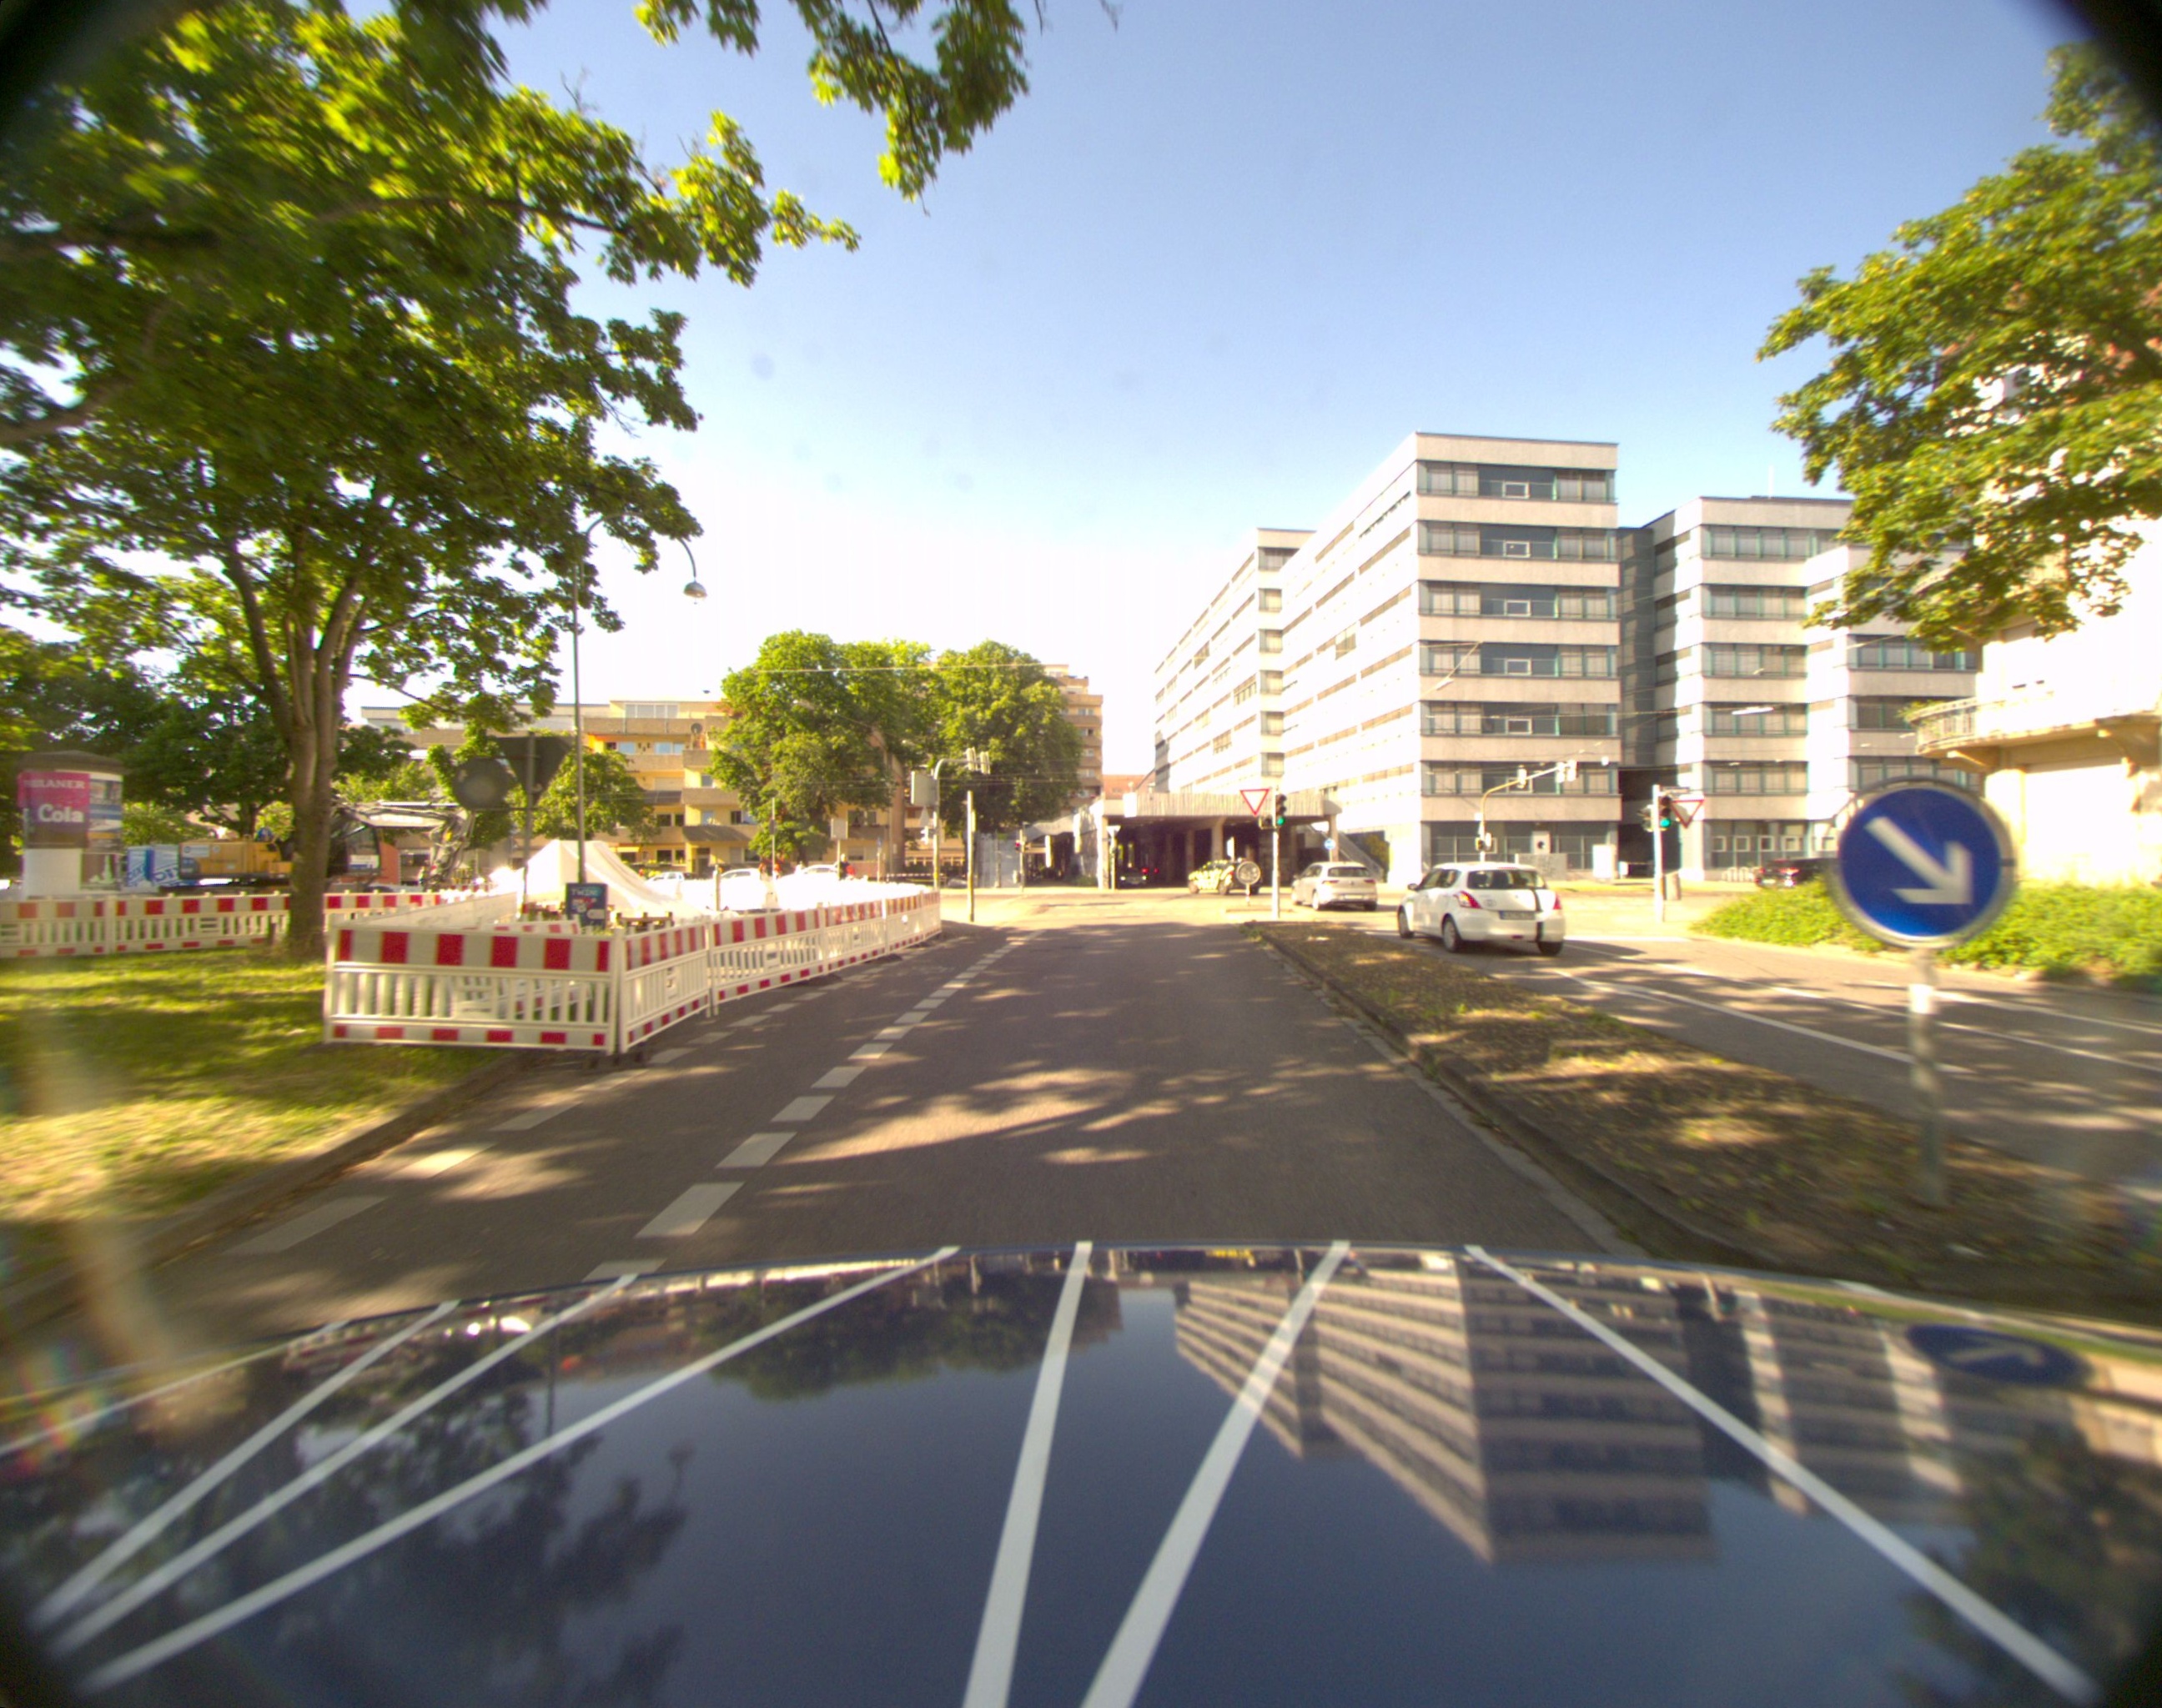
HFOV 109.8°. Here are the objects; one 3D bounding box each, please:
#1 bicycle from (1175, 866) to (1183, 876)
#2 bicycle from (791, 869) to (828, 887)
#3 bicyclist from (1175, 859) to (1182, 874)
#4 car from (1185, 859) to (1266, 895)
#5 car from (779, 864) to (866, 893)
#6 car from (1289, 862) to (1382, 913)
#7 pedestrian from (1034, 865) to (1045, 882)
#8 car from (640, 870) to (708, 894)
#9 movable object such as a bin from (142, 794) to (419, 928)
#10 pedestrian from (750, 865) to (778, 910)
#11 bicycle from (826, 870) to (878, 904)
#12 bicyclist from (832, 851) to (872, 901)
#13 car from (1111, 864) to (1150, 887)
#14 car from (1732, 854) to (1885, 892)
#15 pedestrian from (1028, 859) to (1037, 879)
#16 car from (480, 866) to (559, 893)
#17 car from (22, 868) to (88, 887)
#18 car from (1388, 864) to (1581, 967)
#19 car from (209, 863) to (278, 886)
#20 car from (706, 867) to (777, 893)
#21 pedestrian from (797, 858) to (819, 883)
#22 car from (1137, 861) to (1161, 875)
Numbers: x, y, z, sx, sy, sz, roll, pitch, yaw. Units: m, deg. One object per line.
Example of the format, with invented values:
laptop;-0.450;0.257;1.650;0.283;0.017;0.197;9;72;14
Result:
bicycle;11.246;1.926;87.464;0.527;1.084;1.859;-1;0;-6
bicycle;-17.079;1.504;47.785;2.188;1.055;0.811;-1;0;21
bicyclist;11.252;1.440;87.480;0.607;1.623;0.909;0;0;-6
car;6.462;1.000;34.455;1.795;1.504;4.109;0;0;-20
car;-14.775;1.383;43.550;4.315;1.610;1.938;0;0;12
car;7.778;0.981;23.576;1.712;1.443;3.851;-1;0;2
pedestrian;-3.235;1.494;59.397;0.724;1.291;0.589;-1;0;-13
car;-24.615;1.700;46.024;3.287;1.397;1.668;0;-2;11
movable object such as a bin;-21.933;0.196;21.041;4.705;3.344;2.836;-1;0;4
pedestrian;-11.280;1.176;27.072;0.638;1.591;0.636;0;0;22
bicycle;-8.594;1.234;28.488;1.780;1.258;0.655;0;-1;14
bicyclist;-8.561;0.817;28.427;1.094;1.819;0.915;0;0;14
car;3.474;1.486;54.429;1.958;1.546;5.038;-2;-1;-5
car;28.644;0.733;30.016;4.323;1.443;1.807;0;0;0
pedestrian;-4.088;1.237;64.095;0.658;1.681;0.589;-1;0;-13
car;-33.289;1.497;45.059;3.748;1.508;1.789;-1;0;14
car;-79.789;1.812;59.079;3.686;1.447;1.766;0;0;14
car;6.943;0.959;13.547;1.708;1.503;3.865;1;0;6
car;-62.094;1.505;56.375;3.869;1.665;1.812;0;0;14
car;-20.178;1.523;45.197;3.502;1.522;1.658;0;-1;9
pedestrian;-17.145;1.058;47.801;0.932;1.543;0.880;-1;0;22
car;7.804;1.601;88.058;1.890;1.600;4.145;-1;0;-7
